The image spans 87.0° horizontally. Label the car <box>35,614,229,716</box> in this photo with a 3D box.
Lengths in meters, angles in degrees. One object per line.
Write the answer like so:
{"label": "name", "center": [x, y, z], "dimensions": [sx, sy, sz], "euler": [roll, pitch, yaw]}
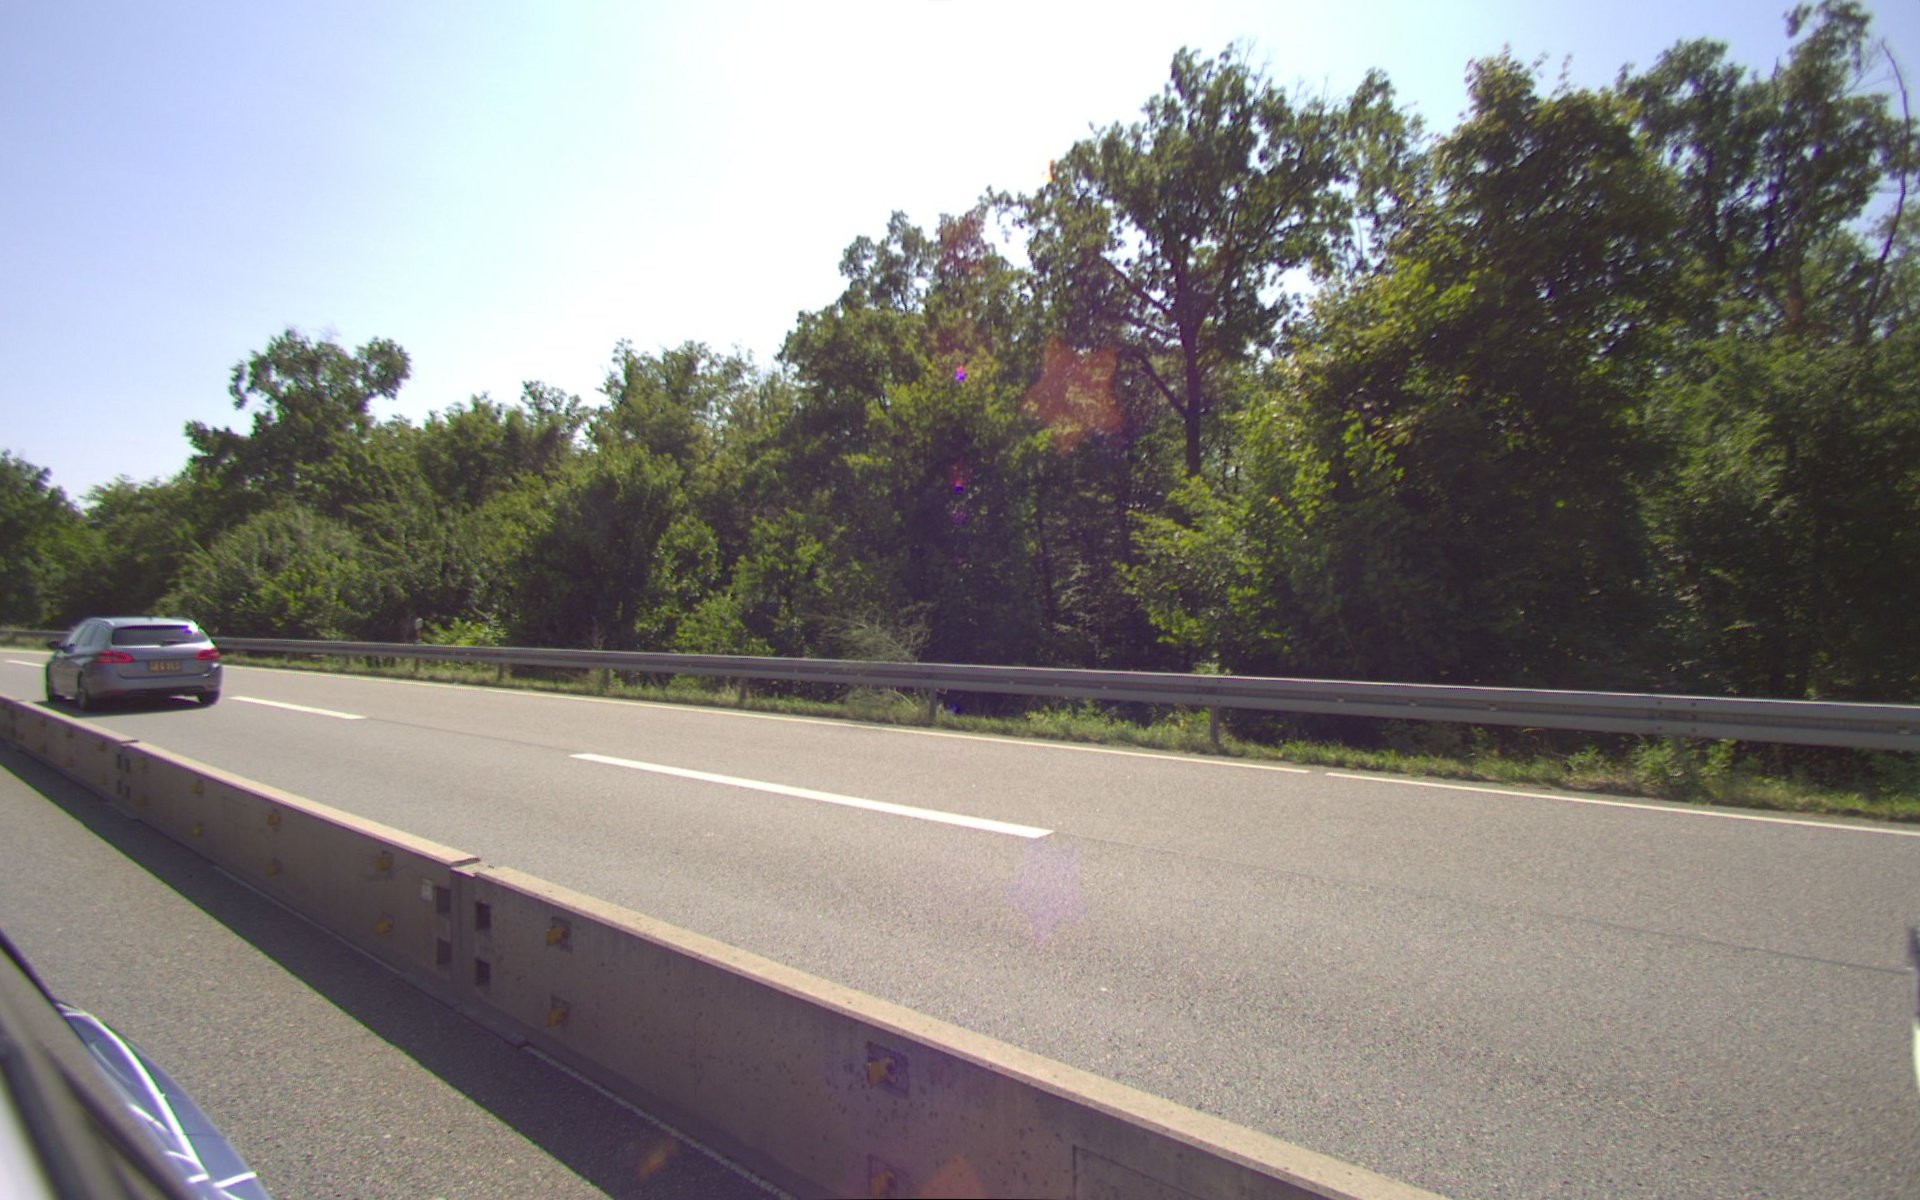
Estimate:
{"label": "car", "center": [-14.033, 1.011, 17.073], "dimensions": [4.384, 1.507, 1.708], "euler": [-1, -1, 39]}
